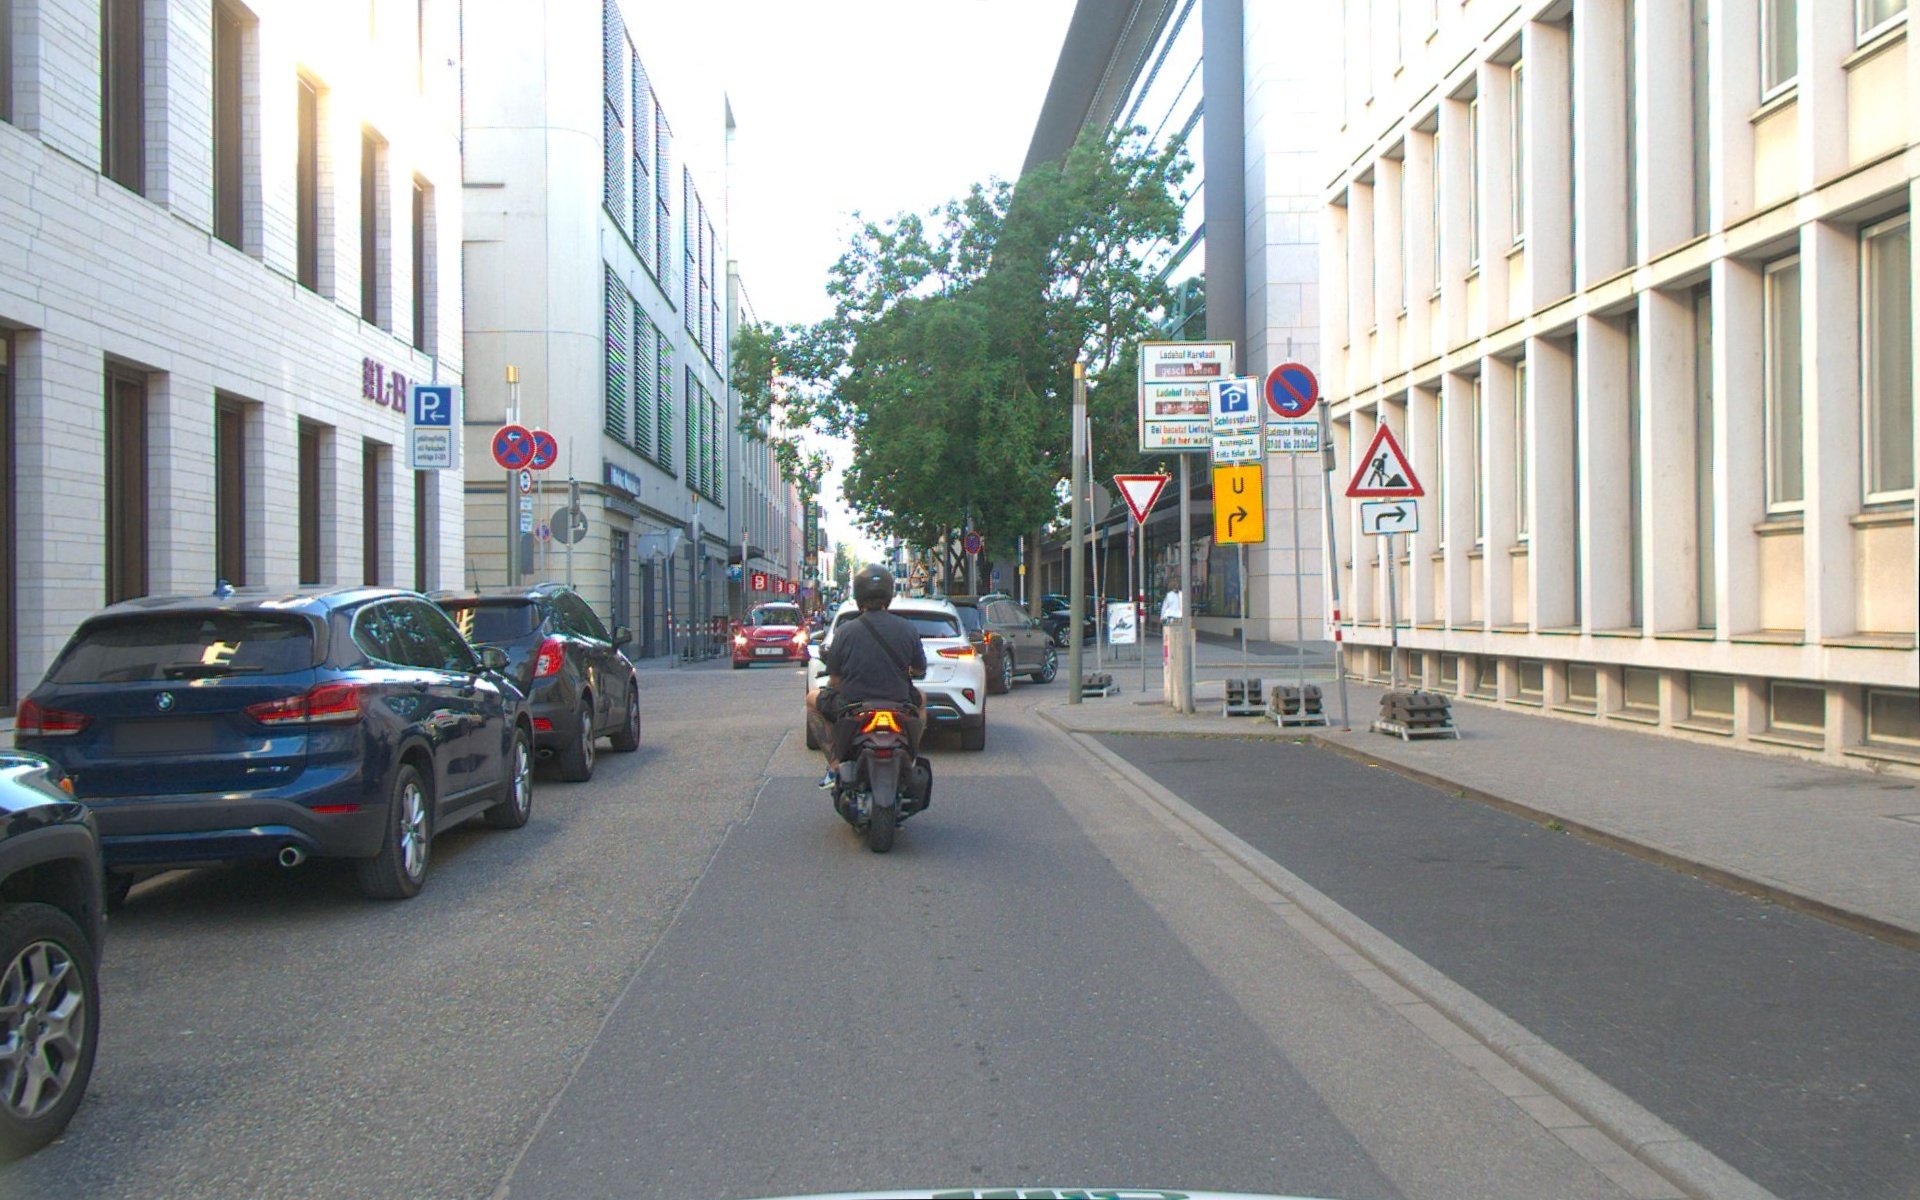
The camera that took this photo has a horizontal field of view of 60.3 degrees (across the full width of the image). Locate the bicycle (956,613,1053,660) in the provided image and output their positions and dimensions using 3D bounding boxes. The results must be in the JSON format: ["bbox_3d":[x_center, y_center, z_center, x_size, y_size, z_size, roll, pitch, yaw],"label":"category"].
[{"bbox_3d":[0.950,0.784,35.629,2.061,1.012,0.518,0,-1,-5],"label":"bicycle"}]

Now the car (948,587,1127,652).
[{"bbox_3d":[2.218,0.570,48.143,4.908,1.477,1.998,-4,-1,-5],"label":"car"}]

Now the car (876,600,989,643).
[{"bbox_3d":[-1.286,0.958,74.758,4.908,1.525,1.998,-4,-1,-5],"label":"car"}]

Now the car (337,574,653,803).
[{"bbox_3d":[-4.043,0.675,15.119,1.786,1.707,4.261,-3,0,-3],"label":"car"}]

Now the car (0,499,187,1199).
[{"bbox_3d":[-3.238,0.662,3.140,1.786,1.744,4.015,-3,0,-4],"label":"car"}]

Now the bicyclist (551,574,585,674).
[{"bbox_3d":[-7.019,0.426,29.598,0.541,1.762,0.499,0,-1,-18],"label":"bicyclist"}]

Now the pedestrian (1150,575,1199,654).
[{"bbox_3d":[4.906,0.326,37.891,0.887,1.735,0.834,-3,-1,-2],"label":"pedestrian"}]

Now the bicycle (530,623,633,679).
[{"bbox_3d":[-6.785,0.915,29.658,1.785,0.991,0.509,0,-1,-17],"label":"bicycle"}]

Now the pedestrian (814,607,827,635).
[{"bbox_3d":[-8.136,1.237,96.512,0.717,1.601,0.635,0,-1,-2],"label":"pedestrian"}]

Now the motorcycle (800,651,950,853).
[{"bbox_3d":[-0.516,0.898,10.407,0.855,1.129,1.839,0,-1,-2],"label":"motorcycle"}]

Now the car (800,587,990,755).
[{"bbox_3d":[-0.743,0.657,17.799,1.786,1.568,4.260,-1,0,-4],"label":"car"}]

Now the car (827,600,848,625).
[{"bbox_3d":[-11.890,1.219,160.049,1.955,2.370,5.015,1,0,-5],"label":"car"}]

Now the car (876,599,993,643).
[{"bbox_3d":[-1.124,0.909,72.283,4.908,1.525,1.998,-4,-1,-5],"label":"car"}]

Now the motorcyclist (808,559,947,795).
[{"bbox_3d":[-0.515,0.478,10.405,0.849,1.452,0.455,0,-1,-2],"label":"motorcyclist"}]

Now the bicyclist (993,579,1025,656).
[{"bbox_3d":[1.050,0.385,35.653,0.618,1.654,0.497,0,-1,-7],"label":"bicyclist"}]

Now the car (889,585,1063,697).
[{"bbox_3d":[0.357,0.588,26.637,1.783,1.568,4.368,0,1,15],"label":"car"}]

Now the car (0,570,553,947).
[{"bbox_3d":[-3.639,0.703,9.589,1.705,1.622,4.151,-3,0,-4],"label":"car"}]

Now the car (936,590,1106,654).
[{"bbox_3d":[1.827,0.662,50.545,4.908,1.525,1.998,-4,-1,-5],"label":"car"}]

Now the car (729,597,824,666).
[{"bbox_3d":[-4.223,0.764,38.541,1.785,1.491,4.262,-1,-2,-1],"label":"car"}]
